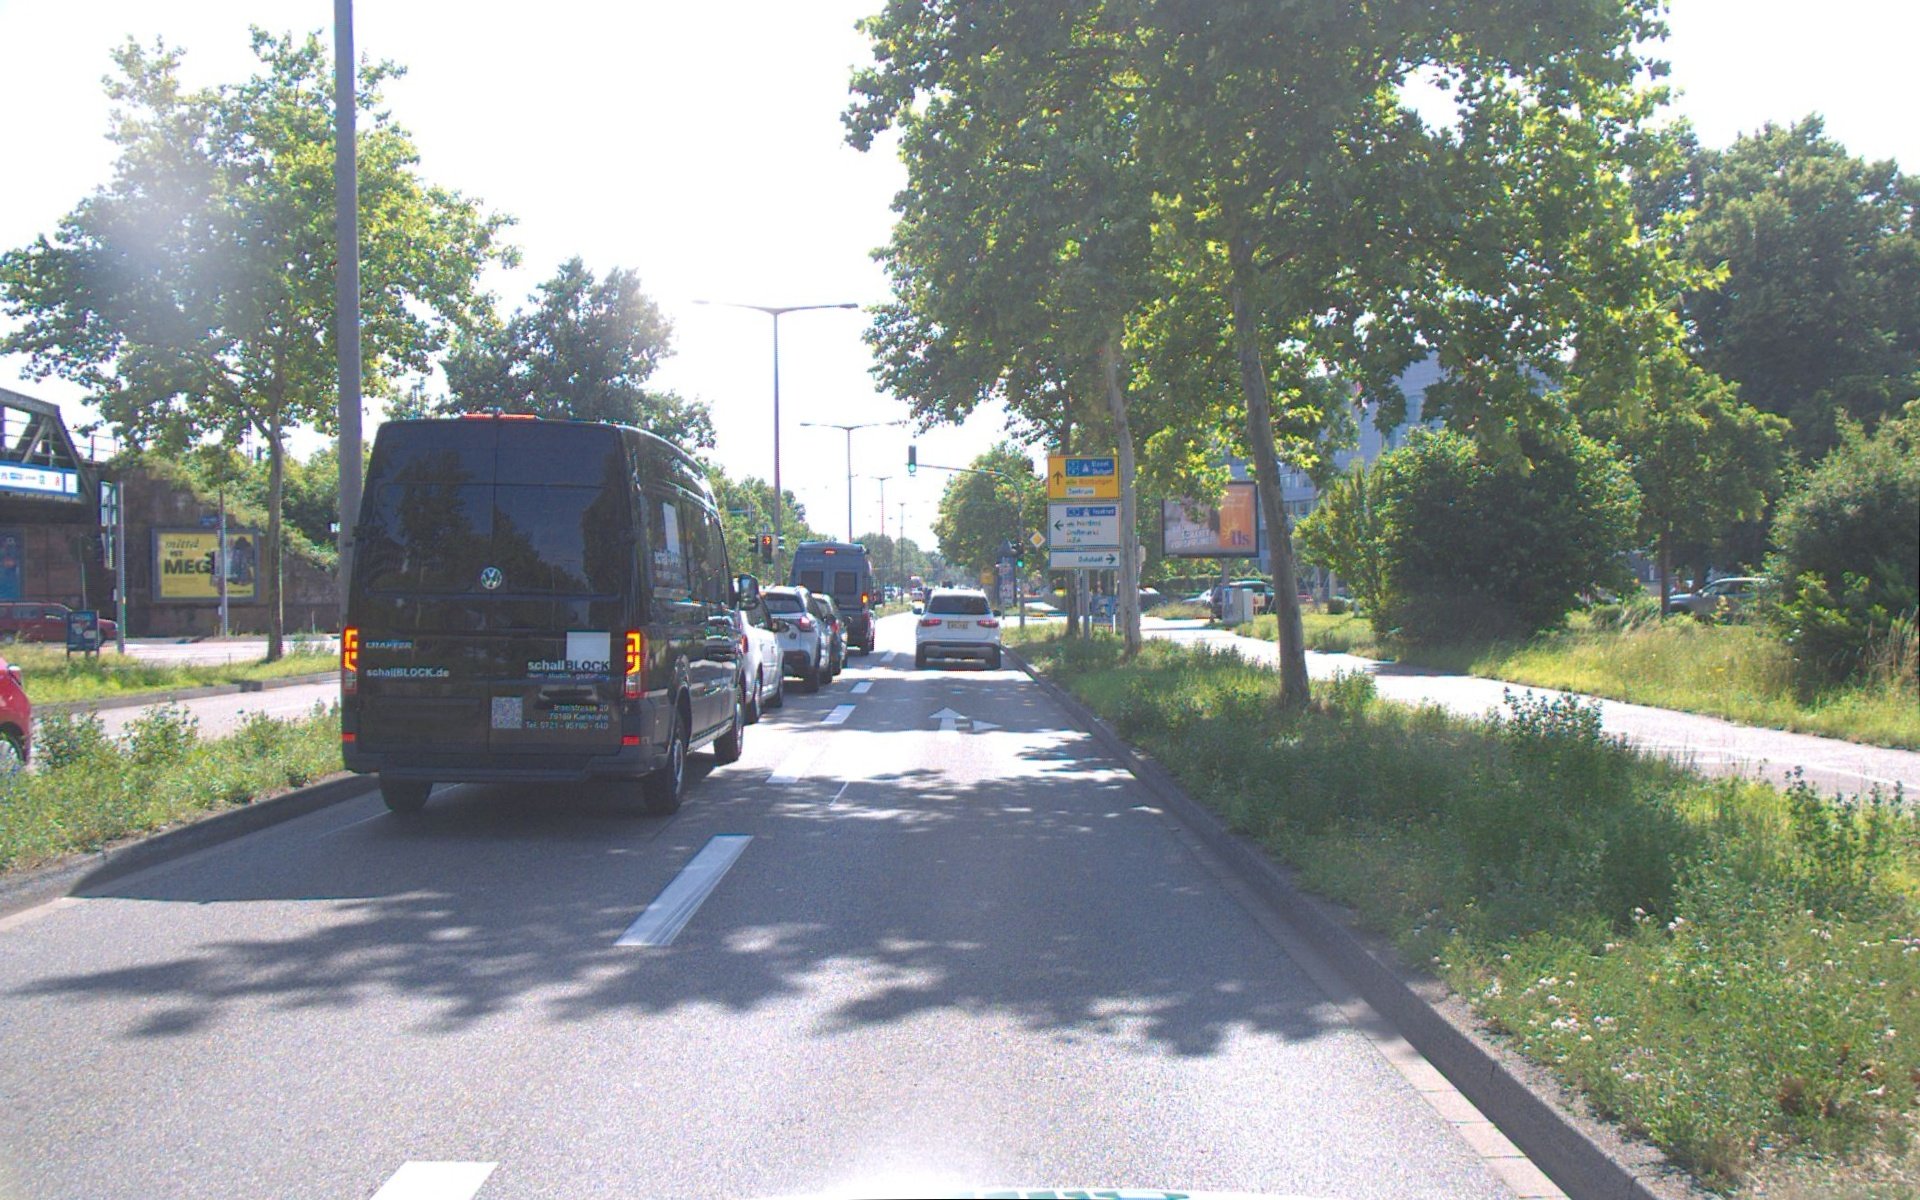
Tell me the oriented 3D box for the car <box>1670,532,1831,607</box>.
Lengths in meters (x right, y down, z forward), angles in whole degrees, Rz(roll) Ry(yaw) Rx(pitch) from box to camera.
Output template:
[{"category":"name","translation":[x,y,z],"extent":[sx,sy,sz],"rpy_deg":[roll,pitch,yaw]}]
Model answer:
[{"category":"car","translation":[22.616,-0.847,47.413],"extent":[1.985,2.049,3.735],"rpy_deg":[-1,1,-44]}]

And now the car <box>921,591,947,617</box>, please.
[{"category":"car","translation":[-1.444,0.224,92.582],"extent":[1.434,1.428,3.476],"rpy_deg":[0,0,-1]}]

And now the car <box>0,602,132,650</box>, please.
[{"category":"car","translation":[-29.176,0.818,53.320],"extent":[4.281,1.451,1.468],"rpy_deg":[-1,0,-35]}]

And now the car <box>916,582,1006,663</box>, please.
[{"category":"car","translation":[-0.015,0.445,35.896],"extent":[1.816,1.635,3.999],"rpy_deg":[1,1,-1]}]

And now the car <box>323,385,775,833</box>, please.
[{"category":"car","translation":[-2.791,0.055,12.935],"extent":[1.974,2.653,6.168],"rpy_deg":[0,0,0]}]

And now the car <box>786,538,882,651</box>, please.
[{"category":"car","translation":[-3.150,-0.127,42.310],"extent":[2.039,2.703,4.874],"rpy_deg":[1,0,0]}]

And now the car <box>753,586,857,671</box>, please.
[{"category":"car","translation":[-2.963,0.510,32.314],"extent":[1.657,1.531,3.885],"rpy_deg":[1,0,0]}]

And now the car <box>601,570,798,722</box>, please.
[{"category":"car","translation":[-3.101,0.507,20.496],"extent":[1.735,1.676,4.352],"rpy_deg":[0,0,0]}]

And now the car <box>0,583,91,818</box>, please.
[{"category":"car","translation":[-7.518,0.688,10.380],"extent":[1.815,1.611,4.176],"rpy_deg":[0,0,2]}]

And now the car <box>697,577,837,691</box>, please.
[{"category":"car","translation":[-2.988,0.501,26.333],"extent":[1.735,1.676,4.084],"rpy_deg":[0,0,0]}]
